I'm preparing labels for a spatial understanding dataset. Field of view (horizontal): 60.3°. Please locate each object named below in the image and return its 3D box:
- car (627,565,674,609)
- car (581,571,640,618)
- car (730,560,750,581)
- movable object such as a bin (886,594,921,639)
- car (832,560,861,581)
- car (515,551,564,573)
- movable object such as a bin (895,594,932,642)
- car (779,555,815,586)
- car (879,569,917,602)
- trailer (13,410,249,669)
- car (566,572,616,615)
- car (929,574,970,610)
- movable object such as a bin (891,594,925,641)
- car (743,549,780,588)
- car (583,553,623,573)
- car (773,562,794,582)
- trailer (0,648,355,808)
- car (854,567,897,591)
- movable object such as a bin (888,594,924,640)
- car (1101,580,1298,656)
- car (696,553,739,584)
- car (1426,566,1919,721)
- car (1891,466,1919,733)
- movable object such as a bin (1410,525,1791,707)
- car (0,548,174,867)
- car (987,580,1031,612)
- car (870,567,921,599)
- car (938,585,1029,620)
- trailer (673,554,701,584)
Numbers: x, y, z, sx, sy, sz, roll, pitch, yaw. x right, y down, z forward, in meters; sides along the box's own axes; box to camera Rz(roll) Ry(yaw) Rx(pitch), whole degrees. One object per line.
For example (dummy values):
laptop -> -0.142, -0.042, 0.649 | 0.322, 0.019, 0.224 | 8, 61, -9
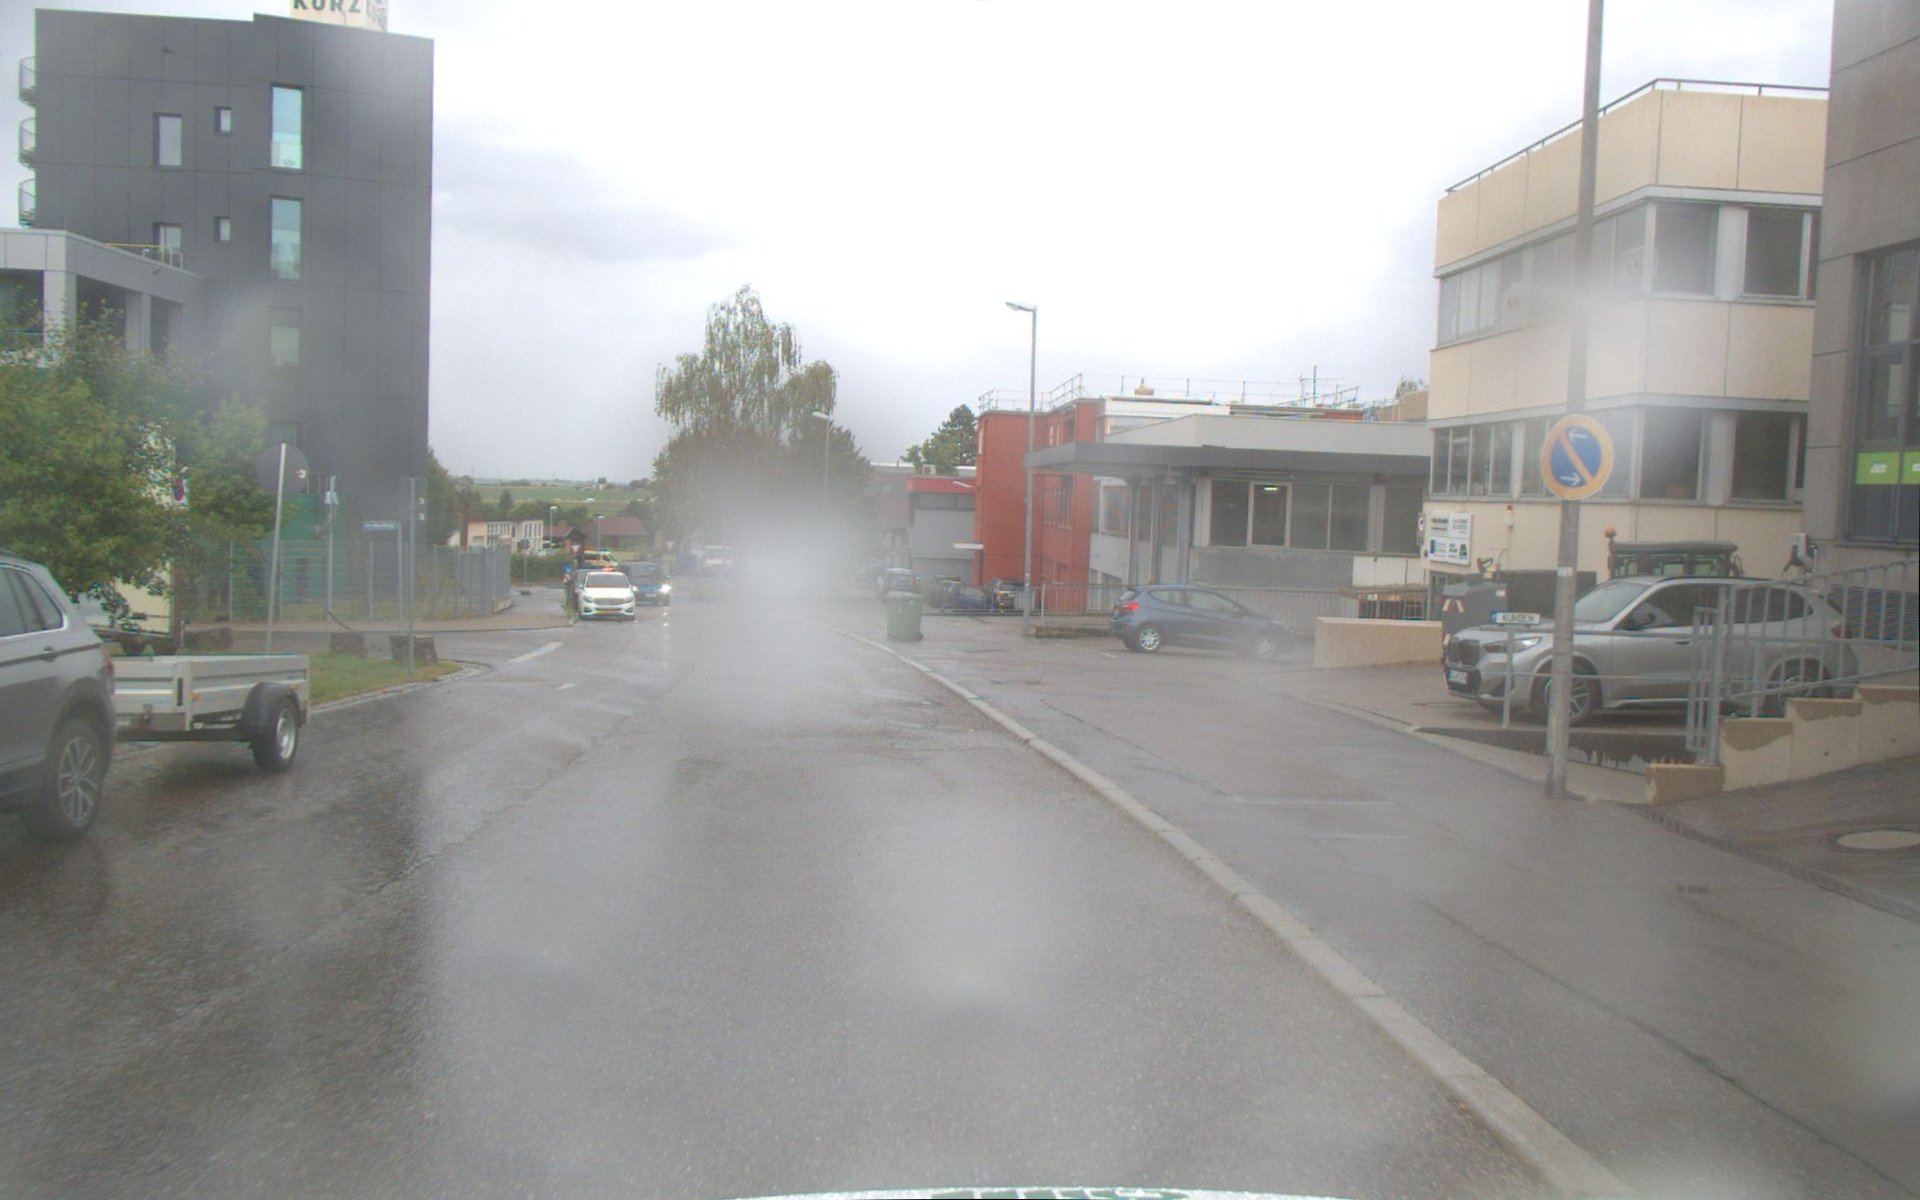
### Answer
car -> -14.040, -0.608, 75.145 | 1.850, 1.919, 5.062 | 1, 1, -8
car -> -11.802, -0.171, 55.703 | 1.741, 1.539, 4.128 | 0, 0, -15
car -> -15.875, -2.104, 119.175 | 1.267, 1.449, 2.540 | 1, 0, -10
movable object such as a bin -> -1.410, 0.409, 40.939 | 0.794, 1.095, 0.580 | 0, 0, -9
car -> -8.333, -2.137, 121.370 | 1.609, 1.479, 3.499 | 1, 0, -13
car -> -37.907, -3.431, 149.260 | 3.908, 1.914, 1.999 | 1, 1, -4
movable object such as a bin -> -1.110, 0.424, 39.177 | 0.791, 1.112, 0.708 | 0, 1, -9
car -> -11.340, -2.045, 114.886 | 2.107, 2.049, 3.929 | 1, 0, -10
car -> -2.996, -0.672, 79.554 | 1.664, 1.501, 3.996 | 1, 0, -4
trailer -> -14.702, -1.012, 29.275 | 4.101, 4.276, 1.999 | 1, 0, 35
car -> -14.813, -0.278, 66.294 | 1.673, 1.637, 3.982 | 0, 1, -16
car -> -0.528, -0.392, 80.344 | 1.705, 1.682, 3.996 | 1, 0, -4
movable object such as a bin -> -1.250, 0.420, 39.816 | 0.760, 1.094, 0.582 | 0, 0, -9
car -> -13.673, -2.136, 113.738 | 2.154, 2.502, 3.988 | 1, 0, -12
car -> -41.178, -4.259, 190.736 | 4.152, 2.265, 2.000 | 1, 0, 2
car -> -12.864, -2.021, 120.411 | 1.373, 1.349, 2.694 | 1, 0, -10
trailer -> -5.948, 0.872, 12.431 | 1.647, 0.904, 3.893 | 1, 0, -5
car -> -5.210, -1.280, 101.541 | 2.501, 1.375, 1.240 | 1, 1, -9
movable object such as a bin -> -1.323, 0.412, 40.385 | 0.794, 1.109, 0.540 | 0, 0, -9
car -> 5.083, 0.382, 35.337 | 3.819, 1.408, 1.819 | 3, -1, -5
car -> -16.585, -2.134, 113.075 | 2.231, 2.049, 3.978 | 1, 0, -19
car -> 8.024, 0.456, 18.630 | 4.991, 1.642, 1.923 | 0, 1, -5
car -> 8.576, -0.111, 9.432 | 5.197, 2.047, 2.220 | -7, 0, -4
movable object such as a bin -> 7.876, 0.192, 20.523 | 4.170, 2.147, 1.476 | 0, 0, -4
car -> -5.762, 0.537, 8.056 | 1.919, 1.604, 4.834 | 0, 0, -5
car -> 2.348, -0.172, 79.638 | 1.695, 1.446, 3.996 | 1, 0, -4
car -> -3.422, -0.862, 87.014 | 2.029, 1.579, 3.988 | 1, 0, -12
car -> 0.857, 0.083, 61.980 | 3.332, 1.183, 1.791 | 1, 1, -2
trailer -> -19.294, -2.209, 116.880 | 1.820, 2.049, 3.989 | 1, 1, -11
